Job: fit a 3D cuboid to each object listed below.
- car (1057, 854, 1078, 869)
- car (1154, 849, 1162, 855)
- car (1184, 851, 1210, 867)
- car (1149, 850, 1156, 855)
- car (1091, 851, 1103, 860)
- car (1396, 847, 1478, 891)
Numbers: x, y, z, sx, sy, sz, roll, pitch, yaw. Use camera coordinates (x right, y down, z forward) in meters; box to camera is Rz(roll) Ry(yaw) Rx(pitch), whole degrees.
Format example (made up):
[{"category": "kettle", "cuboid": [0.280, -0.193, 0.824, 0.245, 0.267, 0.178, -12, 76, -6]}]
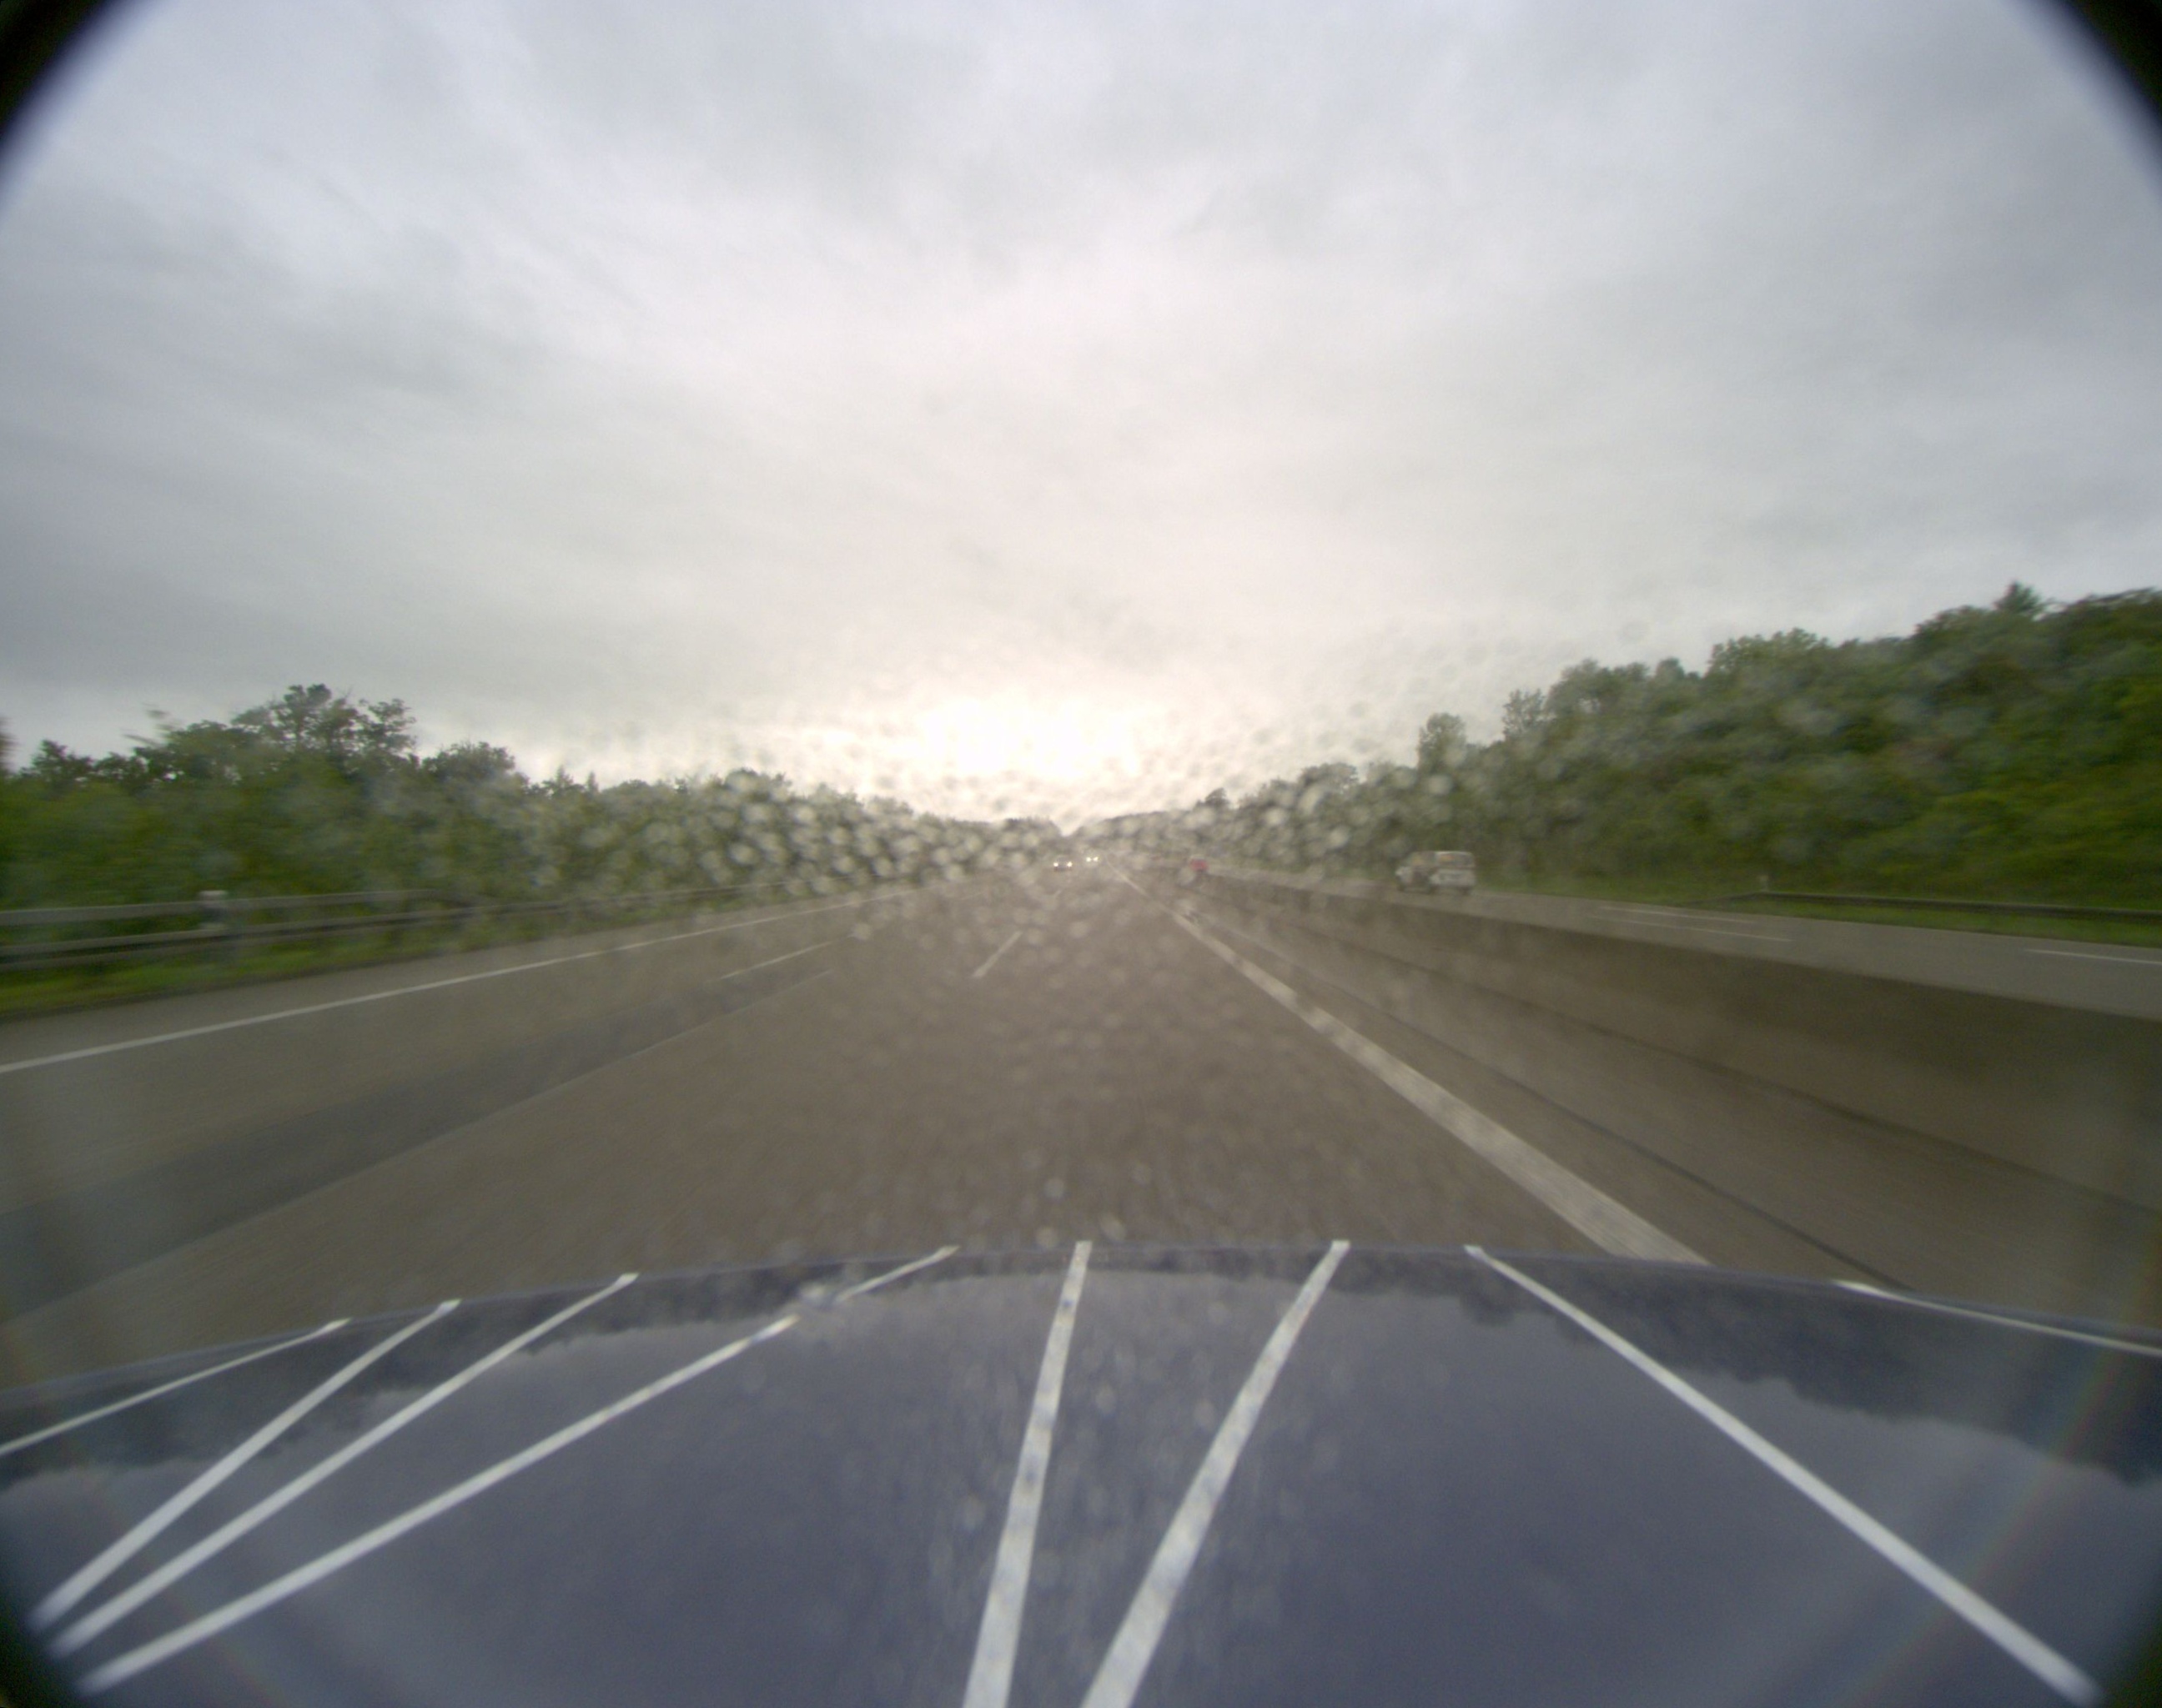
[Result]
[{"category": "car", "cuboid": [-1.394, 0.786, 79.908, 1.932, 1.521, 4.298, 0, 0, 3]}, {"category": "car", "cuboid": [19.531, -0.452, 192.075, 1.802, 1.377, 4.468, 0, 1, 3]}, {"category": "car", "cuboid": [10.365, 0.431, 68.305, 1.639, 1.404, 4.366, 1, 0, 0]}, {"category": "car", "cuboid": [21.587, -0.433, 229.515, 1.802, 1.442, 4.629, 0, 0, 1]}, {"category": "car", "cuboid": [2.806, 0.255, 134.930, 2.009, 1.456, 4.000, 0, 1, 3]}, {"category": "car", "cuboid": [16.538, 0.634, 35.537, 1.746, 1.893, 4.530, 0, 1, 1]}]
